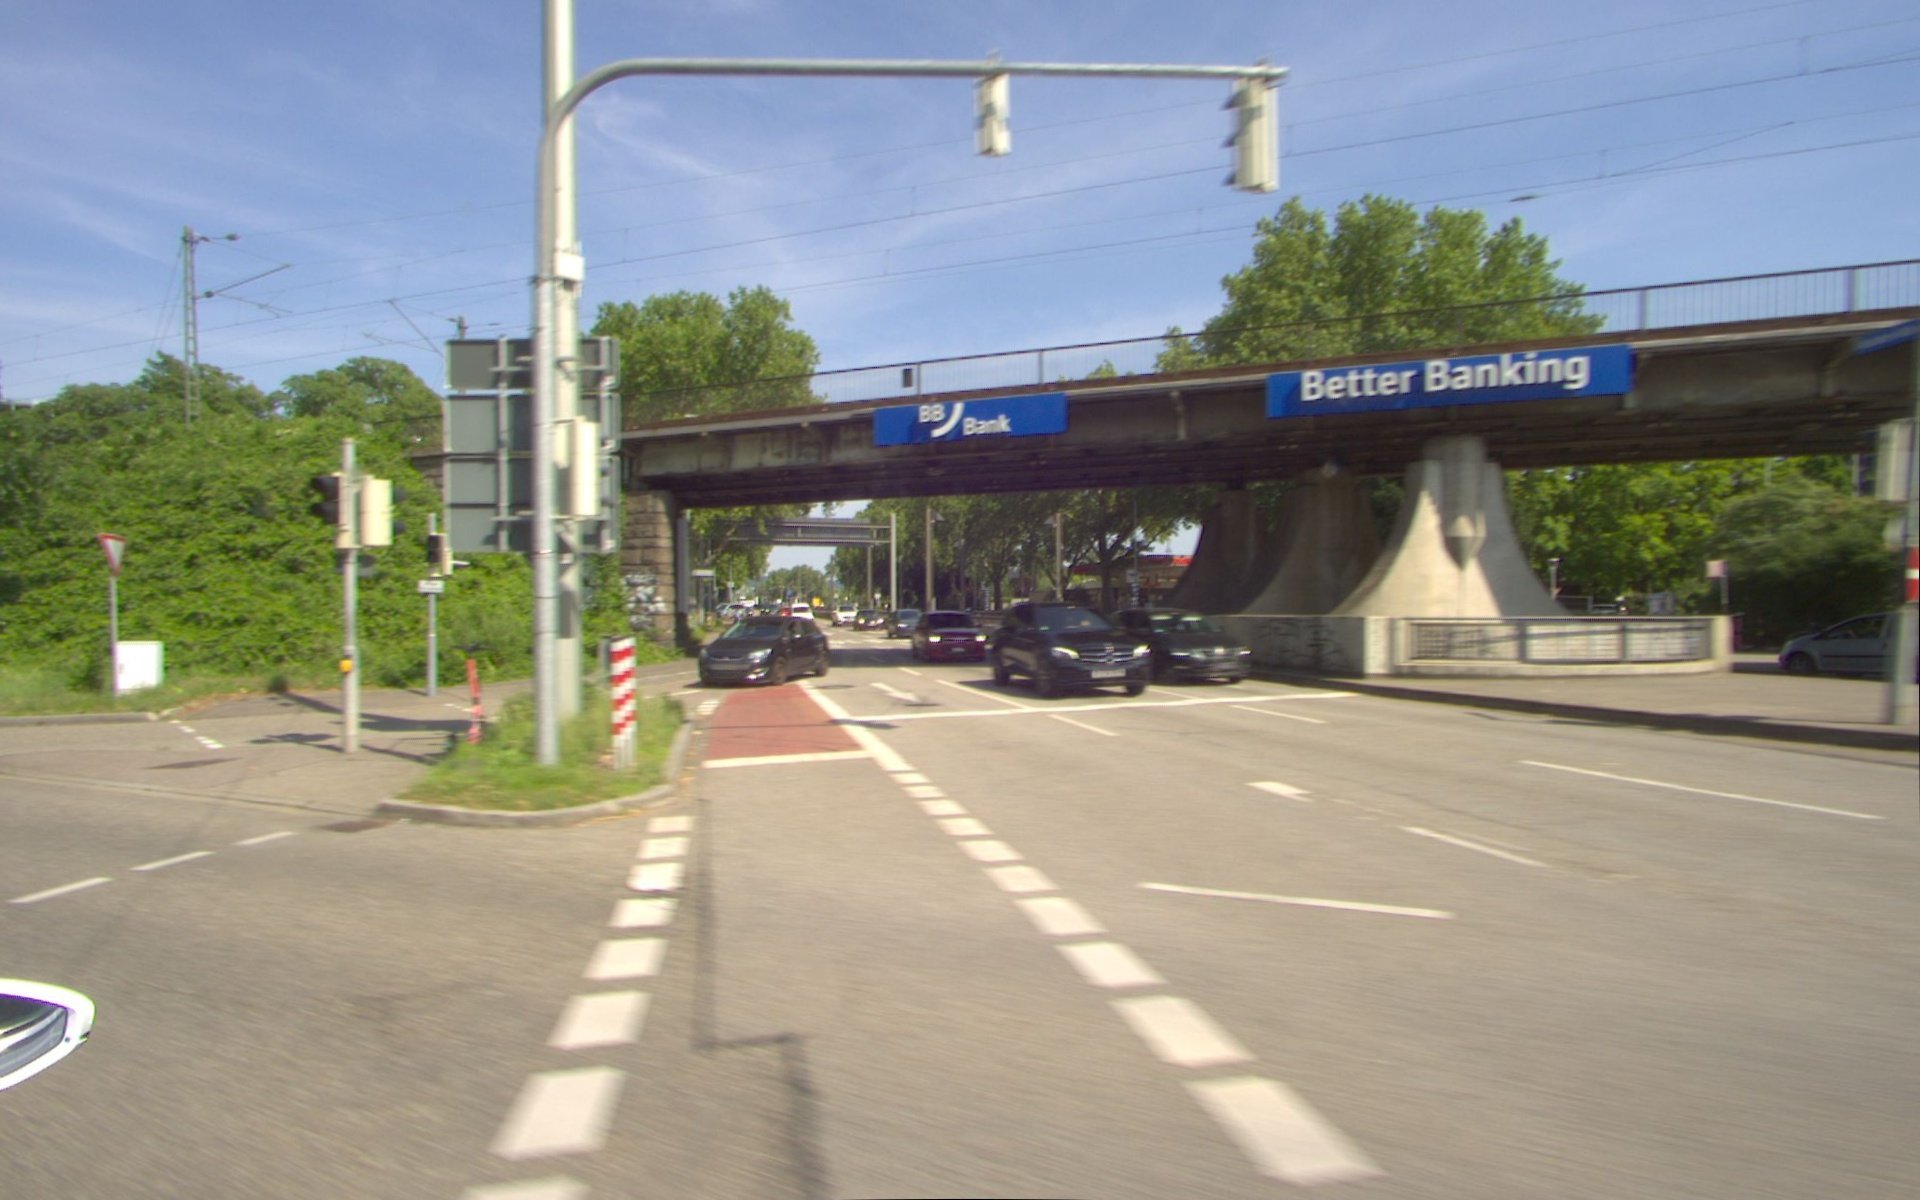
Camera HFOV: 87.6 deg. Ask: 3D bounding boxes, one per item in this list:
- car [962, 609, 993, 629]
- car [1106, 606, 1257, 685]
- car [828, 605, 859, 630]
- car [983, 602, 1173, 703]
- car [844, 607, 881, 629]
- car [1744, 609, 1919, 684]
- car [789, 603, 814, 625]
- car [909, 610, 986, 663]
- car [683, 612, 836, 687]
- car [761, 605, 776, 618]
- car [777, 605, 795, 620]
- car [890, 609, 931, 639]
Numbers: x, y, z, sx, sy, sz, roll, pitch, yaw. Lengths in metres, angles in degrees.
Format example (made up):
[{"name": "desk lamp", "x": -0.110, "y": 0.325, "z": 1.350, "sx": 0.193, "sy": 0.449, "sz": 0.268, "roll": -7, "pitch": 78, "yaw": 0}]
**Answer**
[{"name": "car", "x": 1.498, "y": 1.643, "z": 88.108, "sx": 1.816, "sy": 1.730, "sz": 3.995, "roll": 0, "pitch": -1, "yaw": -13}, {"name": "car", "x": 4.401, "y": 0.866, "z": 20.531, "sx": 1.661, "sy": 1.461, "sz": 3.998, "roll": 0, "pitch": -1, "yaw": -9}, {"name": "car", "x": -9.108, "y": 1.374, "z": 77.863, "sx": 1.963, "sy": 1.855, "sz": 4.316, "roll": 0, "pitch": -1, "yaw": -12}, {"name": "car", "x": 1.991, "y": 0.870, "z": 18.438, "sx": 1.964, "sy": 1.617, "sz": 4.438, "roll": 0, "pitch": -1, "yaw": -15}, {"name": "car", "x": -6.528, "y": 1.192, "z": 66.774, "sx": 1.852, "sy": 1.461, "sz": 4.137, "roll": 0, "pitch": -1, "yaw": -14}, {"name": "car", "x": 19.297, "y": 0.954, "z": 21.312, "sx": 1.685, "sy": 1.470, "sz": 3.889, "roll": 1, "pitch": -1, "yaw": -13}, {"name": "car", "x": -13.007, "y": 1.137, "z": 82.131, "sx": 1.770, "sy": 1.739, "sz": 3.996, "roll": 0, "pitch": -1, "yaw": -12}, {"name": "car", "x": -0.433, "y": 1.020, "z": 29.518, "sx": 1.675, "sy": 1.438, "sz": 3.998, "roll": 0, "pitch": -1, "yaw": -9}, {"name": "car", "x": -4.355, "y": 1.032, "z": 22.474, "sx": 1.794, "sy": 1.526, "sz": 4.213, "roll": 0, "pitch": -1, "yaw": 13}, {"name": "car", "x": -26.686, "y": 1.598, "z": 139.729, "sx": 1.963, "sy": 1.802, "sz": 4.314, "roll": 0, "pitch": -1, "yaw": -12}, {"name": "car", "x": -18.024, "y": 1.318, "z": 103.738, "sx": 1.663, "sy": 1.442, "sz": 3.996, "roll": 2, "pitch": 0, "yaw": -12}, {"name": "car", "x": -2.531, "y": 1.205, "z": 50.542, "sx": 1.661, "sy": 1.461, "sz": 3.998, "roll": 0, "pitch": -1, "yaw": -9}]
